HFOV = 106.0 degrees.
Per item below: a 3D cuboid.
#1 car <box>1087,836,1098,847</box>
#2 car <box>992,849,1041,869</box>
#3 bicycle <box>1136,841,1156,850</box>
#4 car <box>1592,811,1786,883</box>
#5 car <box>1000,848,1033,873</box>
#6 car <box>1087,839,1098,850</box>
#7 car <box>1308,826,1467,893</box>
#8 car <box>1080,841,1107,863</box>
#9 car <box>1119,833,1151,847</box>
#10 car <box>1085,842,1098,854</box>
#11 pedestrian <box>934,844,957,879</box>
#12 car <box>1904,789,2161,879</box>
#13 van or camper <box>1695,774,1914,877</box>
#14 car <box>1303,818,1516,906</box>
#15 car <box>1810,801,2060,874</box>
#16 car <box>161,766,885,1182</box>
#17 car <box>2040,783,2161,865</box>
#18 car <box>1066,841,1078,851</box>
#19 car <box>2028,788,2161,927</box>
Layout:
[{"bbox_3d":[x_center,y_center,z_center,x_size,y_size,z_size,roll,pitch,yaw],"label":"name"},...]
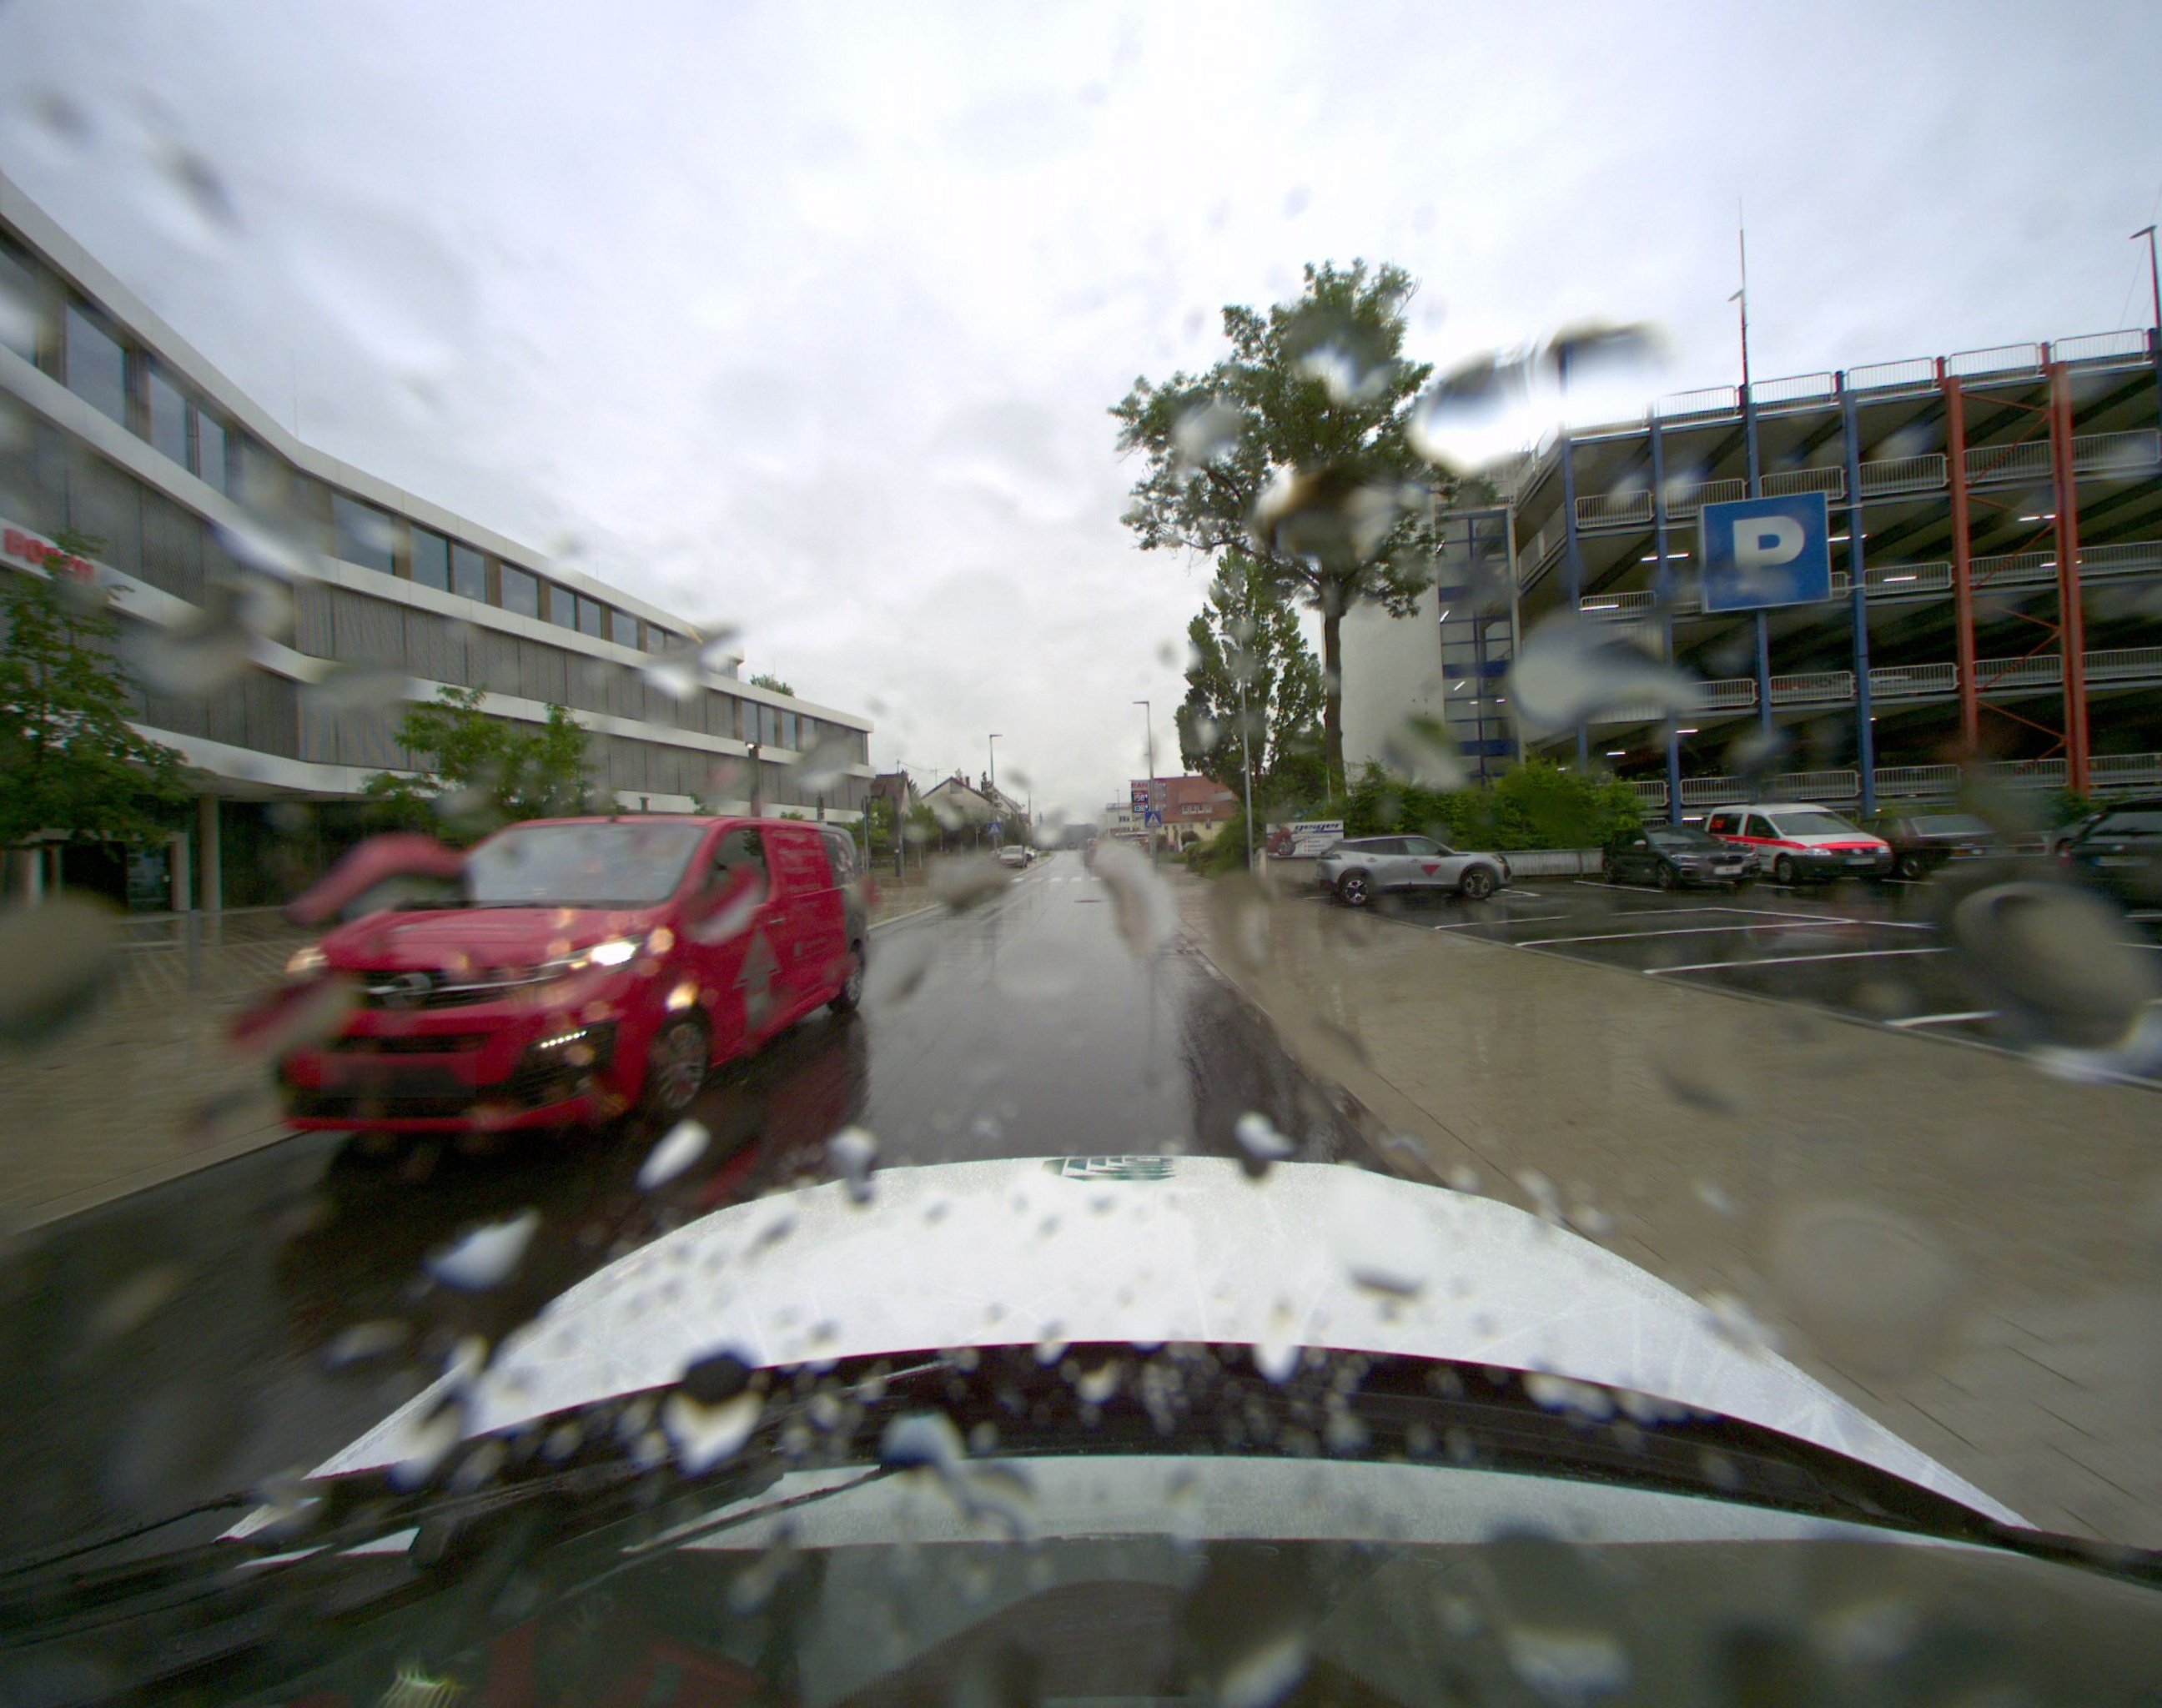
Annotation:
[{"bbox_3d":[1.832,-2.025,133.146,1.776,1.706,4.000,1,-1,1],"label":"car"},{"bbox_3d":[-6.564,0.528,83.629,4.732,2.014,2.002,1,-1,3],"label":"car"},{"bbox_3d":[8.298,-1.026,103.949,0.673,1.067,3.593,2,-1,-30],"label":"bicycle"},{"bbox_3d":[14.028,-0.173,19.146,1.921,1.442,4.218,-2,0,9],"label":"car"},{"bbox_3d":[-4.755,0.444,60.822,1.987,1.629,4.154,-3,1,1],"label":"car"},{"bbox_3d":[1.977,-1.556,139.674,1.986,1.706,4.000,1,-1,1],"label":"car"},{"bbox_3d":[7.958,0.135,21.468,3.599,1.494,1.811,-3,0,10],"label":"car"},{"bbox_3d":[0.978,-0.128,64.865,1.943,1.556,3.997,1,-1,-2],"label":"car"},{"bbox_3d":[7.288,-1.861,110.572,4.102,1.706,1.787,1,-1,-3],"label":"car"},{"bbox_3d":[1.668,-0.969,126.394,1.986,1.706,4.000,1,-1,1],"label":"car"},{"bbox_3d":[-6.838,0.370,41.223,1.010,1.724,0.772,-2,0,-2],"label":"pedestrian"},{"bbox_3d":[20.779,-0.436,18.008,1.718,1.679,4.015,-3,1,13],"label":"car"},{"bbox_3d":[16.514,-0.614,18.954,1.825,2.036,4.477,-2,0,12],"label":"van or camper"},{"bbox_3d":[7.425,0.179,18.845,4.181,1.649,2.006,-4,0,10],"label":"car"},{"bbox_3d":[18.742,-0.368,18.177,1.720,1.354,4.010,-3,1,8],"label":"car"},{"bbox_3d":[-3.143,0.526,6.209,1.996,1.817,4.979,-2,0,0],"label":"car"},{"bbox_3d":[23.415,-0.684,17.388,1.718,1.679,4.015,-3,1,13],"label":"car"},{"bbox_3d":[-1.690,-1.494,158.048,2.146,1.706,4.000,1,-1,1],"label":"car"},{"bbox_3d":[13.508,-0.037,9.193,3.673,1.500,1.642,-2,0,1],"label":"car"}]
